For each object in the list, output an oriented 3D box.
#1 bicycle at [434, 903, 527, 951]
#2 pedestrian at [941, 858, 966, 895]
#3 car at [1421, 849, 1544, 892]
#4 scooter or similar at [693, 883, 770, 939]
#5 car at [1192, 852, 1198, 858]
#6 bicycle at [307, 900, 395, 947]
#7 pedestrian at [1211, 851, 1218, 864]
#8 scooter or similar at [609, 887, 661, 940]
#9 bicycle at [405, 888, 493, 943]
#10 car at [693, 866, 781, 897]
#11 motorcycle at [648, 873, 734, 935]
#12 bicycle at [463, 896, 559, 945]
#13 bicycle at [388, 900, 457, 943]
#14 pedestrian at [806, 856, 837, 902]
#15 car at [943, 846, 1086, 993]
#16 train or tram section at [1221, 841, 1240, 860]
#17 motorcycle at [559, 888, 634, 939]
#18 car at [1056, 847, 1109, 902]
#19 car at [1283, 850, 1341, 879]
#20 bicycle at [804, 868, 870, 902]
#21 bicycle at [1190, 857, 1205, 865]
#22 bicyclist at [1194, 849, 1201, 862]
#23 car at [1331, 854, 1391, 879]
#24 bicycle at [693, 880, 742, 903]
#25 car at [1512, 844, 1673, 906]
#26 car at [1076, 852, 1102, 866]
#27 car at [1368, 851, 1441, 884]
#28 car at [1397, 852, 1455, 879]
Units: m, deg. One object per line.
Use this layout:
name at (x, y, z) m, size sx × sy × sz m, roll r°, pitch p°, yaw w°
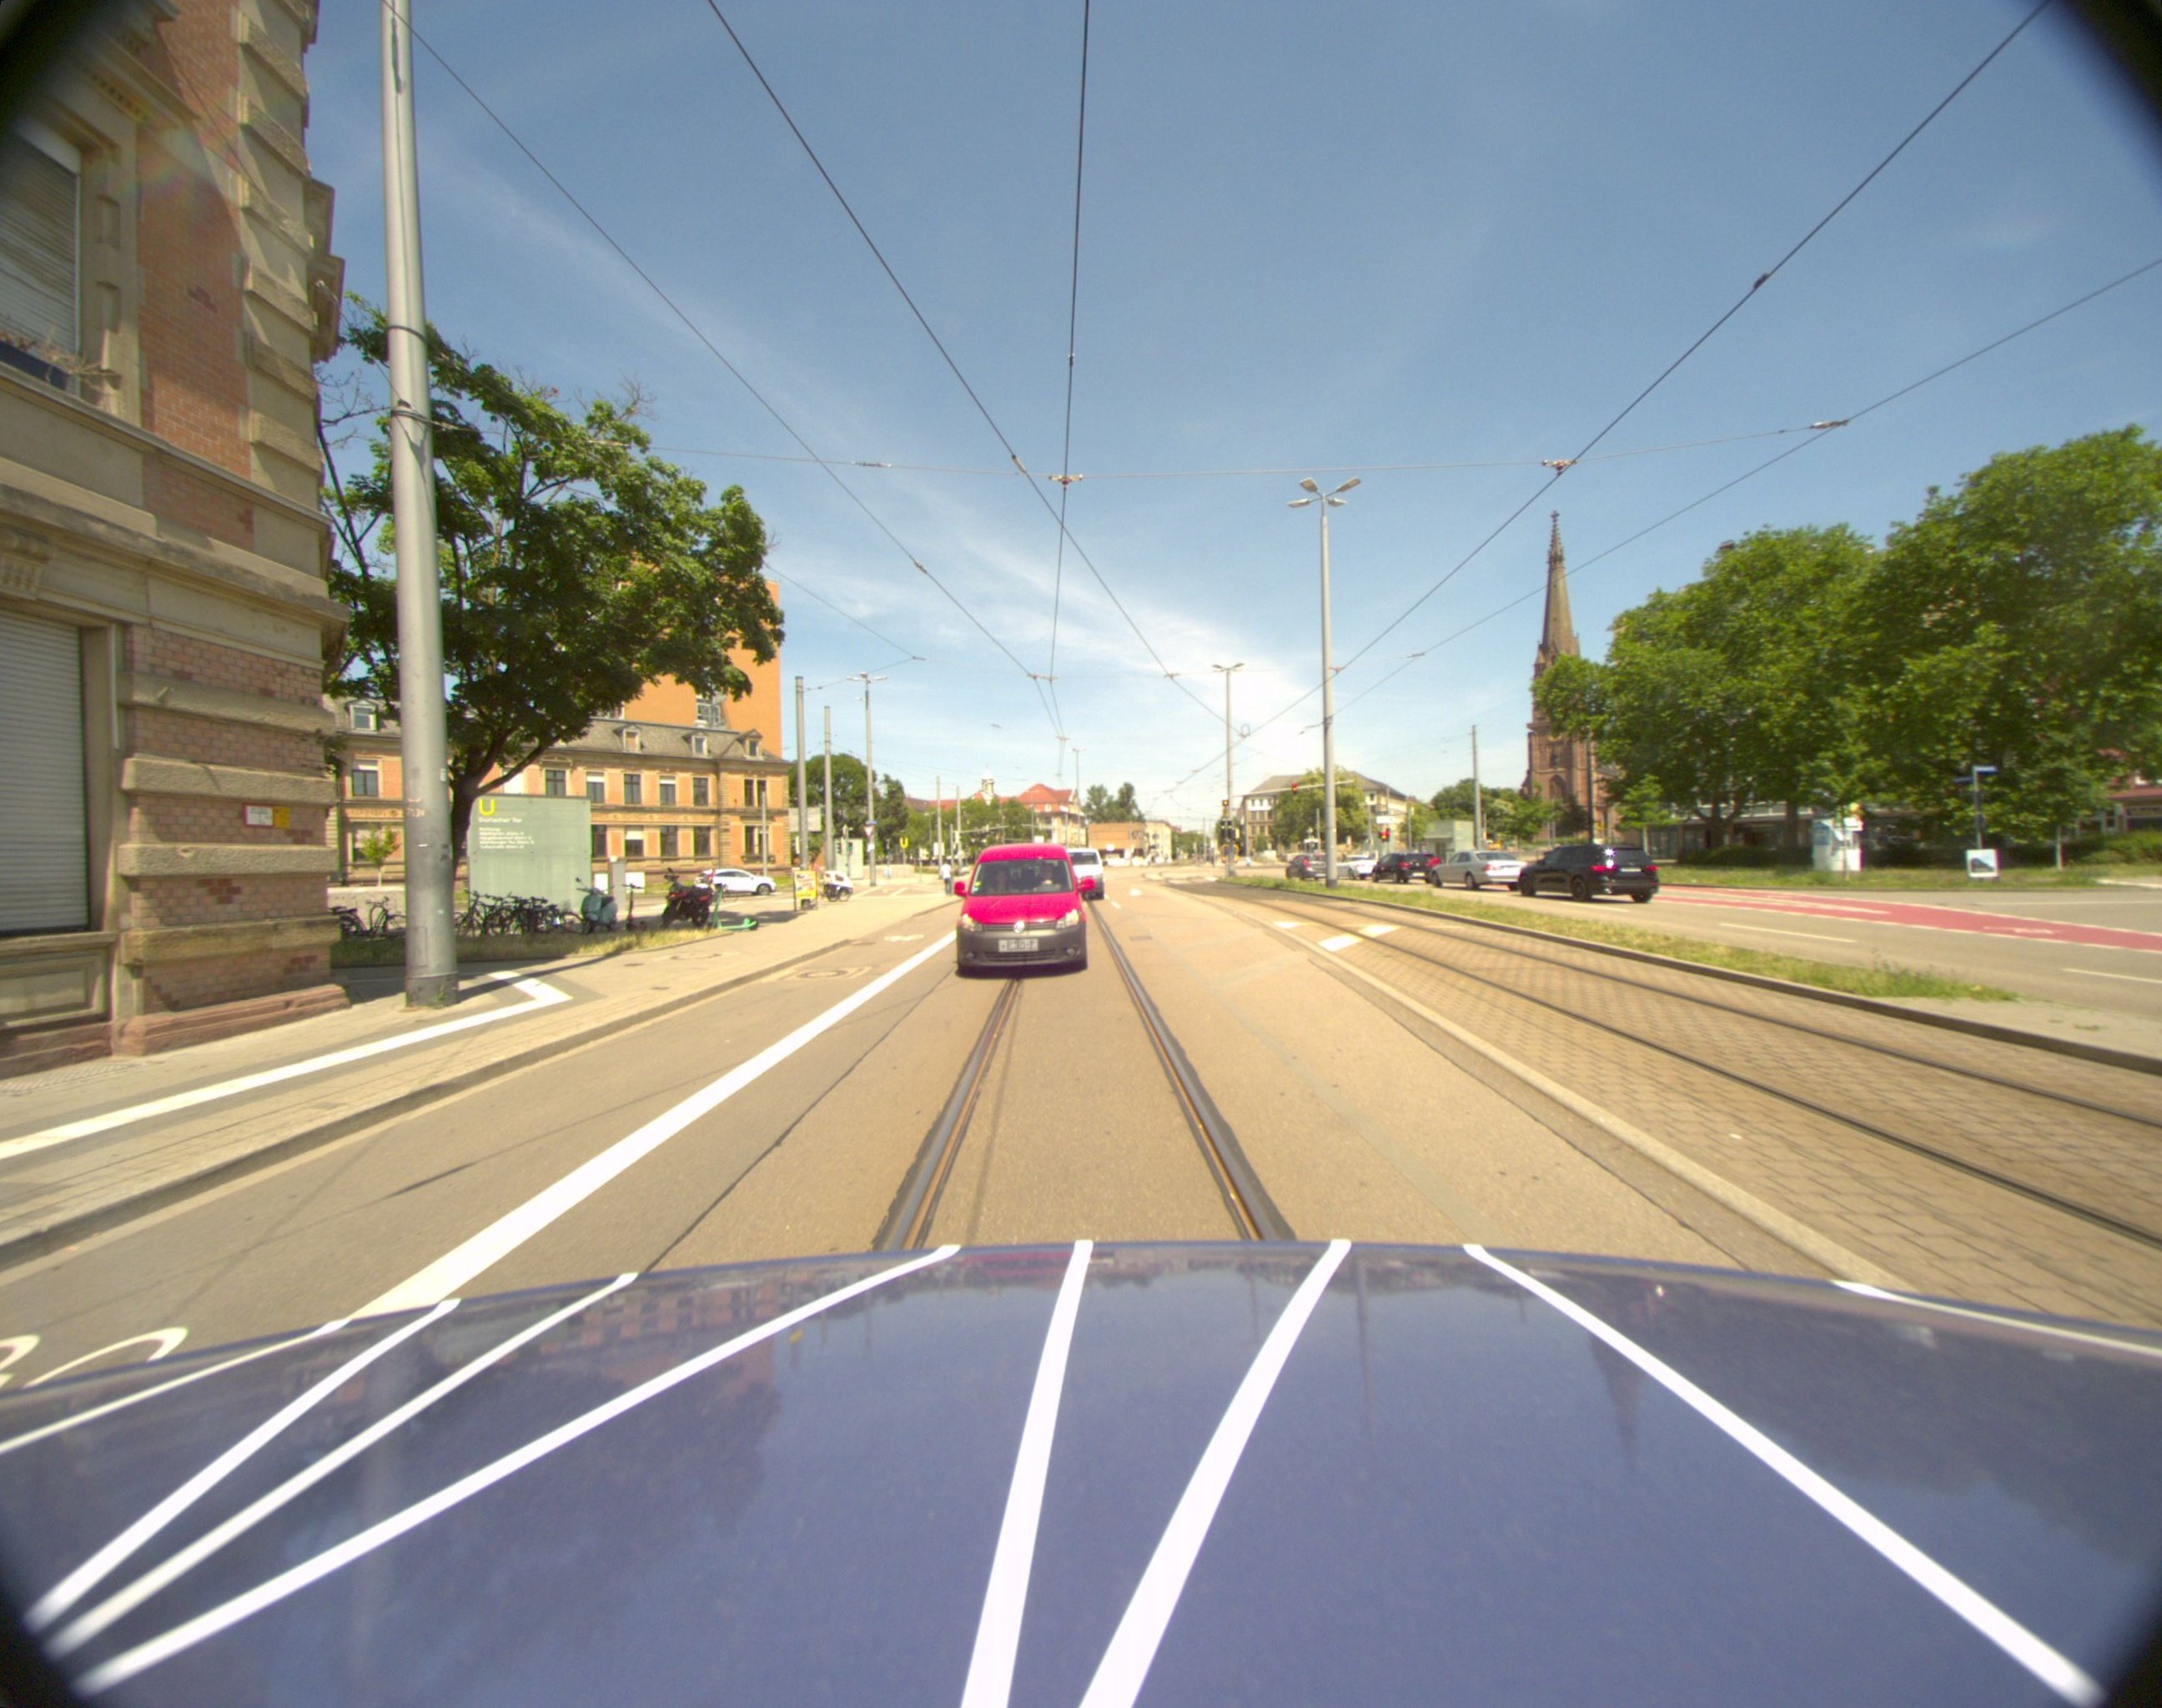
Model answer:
bicycle at (-14.100, 1.688, 17.897) m, size 0.647 × 0.959 × 1.839 m, roll -2°, pitch 0°, yaw 2°
pedestrian at (-6.310, 1.101, 37.670) m, size 0.808 × 1.769 × 0.876 m, roll -1°, pitch 1°, yaw 32°
car at (15.284, 0.560, 29.307) m, size 1.999 × 1.521 × 5.130 m, roll 0°, pitch 0°, yaw 0°
scooter or similar at (-8.040, 1.288, 17.472) m, size 1.527 × 1.149 × 0.713 m, roll -2°, pitch 0°, yaw -29°
car at (30.586, 0.371, 203.564) m, size 1.439 × 1.586 × 4.003 m, roll -1°, pitch 0°, yaw 9°
bicycle at (-17.128, 1.611, 17.875) m, size 0.456 × 0.986 × 1.431 m, roll -1°, pitch 0°, yaw 17°
pedestrian at (17.699, 0.462, 100.720) m, size 0.657 × 1.661 × 0.449 m, roll -2°, pitch 1°, yaw -16°
scooter or similar at (-10.781, 1.414, 18.392) m, size 0.602 × 1.145 × 1.378 m, roll -2°, pitch 1°, yaw -10°
bicycle at (-14.931, 1.426, 18.017) m, size 0.647 × 1.140 × 1.838 m, roll -2°, pitch 0°, yaw -5°
car at (-19.410, 1.515, 42.906) m, size 4.184 × 1.596 × 1.703 m, roll -1°, pitch 0°, yaw -39°
motorcycle at (-9.739, 1.214, 19.104) m, size 0.765 × 1.354 × 2.595 m, roll -2°, pitch 1°, yaw 0°
bicycle at (-13.352, 1.532, 17.890) m, size 0.647 × 0.959 × 2.082 m, roll -2°, pitch 0°, yaw 0°
bicycle at (-15.564, 1.577, 18.007) m, size 0.457 × 0.900 × 1.428 m, roll -2°, pitch 0°, yaw -5°
pedestrian at (-10.196, 0.960, 29.857) m, size 0.826 × 1.765 × 0.812 m, roll -3°, pitch 2°, yaw -44°
car at (-0.834, 0.821, 11.613) m, size 1.755 × 1.802 × 4.097 m, roll -2°, pitch 0°, yaw 0°
train or tram section at (25.642, -0.567, 130.520) m, size 2.840 × 3.195 × 9.116 m, roll -1°, pitch 0°, yaw 9°
motorcycle at (-11.898, 1.426, 18.722) m, size 0.692 × 1.090 × 1.747 m, roll -2°, pitch 1°, yaw 0°
car at (0.071, 0.740, 29.570) m, size 1.874 × 1.954 × 3.823 m, roll -2°, pitch 0°, yaw 0°
car at (12.439, 0.585, 41.167) m, size 1.848 × 1.471 × 4.330 m, roll -1°, pitch 0°, yaw 1°
bicycle at (-9.750, 1.226, 30.376) m, size 2.225 × 1.243 × 1.096 m, roll -1°, pitch 0°, yaw -44°
bicycle at (15.470, 0.922, 100.675) m, size 1.906 × 0.973 × 0.528 m, roll -1°, pitch 0°, yaw -5°
bicyclist at (15.453, 0.242, 100.742) m, size 0.813 × 1.678 × 0.528 m, roll -2°, pitch 1°, yaw -5°
car at (15.379, 0.650, 42.021) m, size 1.711 × 1.291 × 4.202 m, roll 0°, pitch 0°, yaw -1°
bicycle at (-17.586, 1.795, 36.735) m, size 2.023 × 0.999 × 0.724 m, roll -1°, pitch 0°, yaw -35°
car at (14.731, 0.558, 22.255) m, size 1.826 × 1.617 × 4.526 m, roll 0°, pitch 0°, yaw 3°
car at (1.168, 0.751, 115.033) m, size 2.003 × 2.002 × 4.586 m, roll -2°, pitch 0°, yaw -28°
car at (15.045, 0.587, 35.548) m, size 1.675 × 1.453 × 3.903 m, roll -1°, pitch 0°, yaw -1°
car at (21.216, 0.682, 46.890) m, size 1.538 × 1.588 × 4.399 m, roll 0°, pitch 0°, yaw -1°
